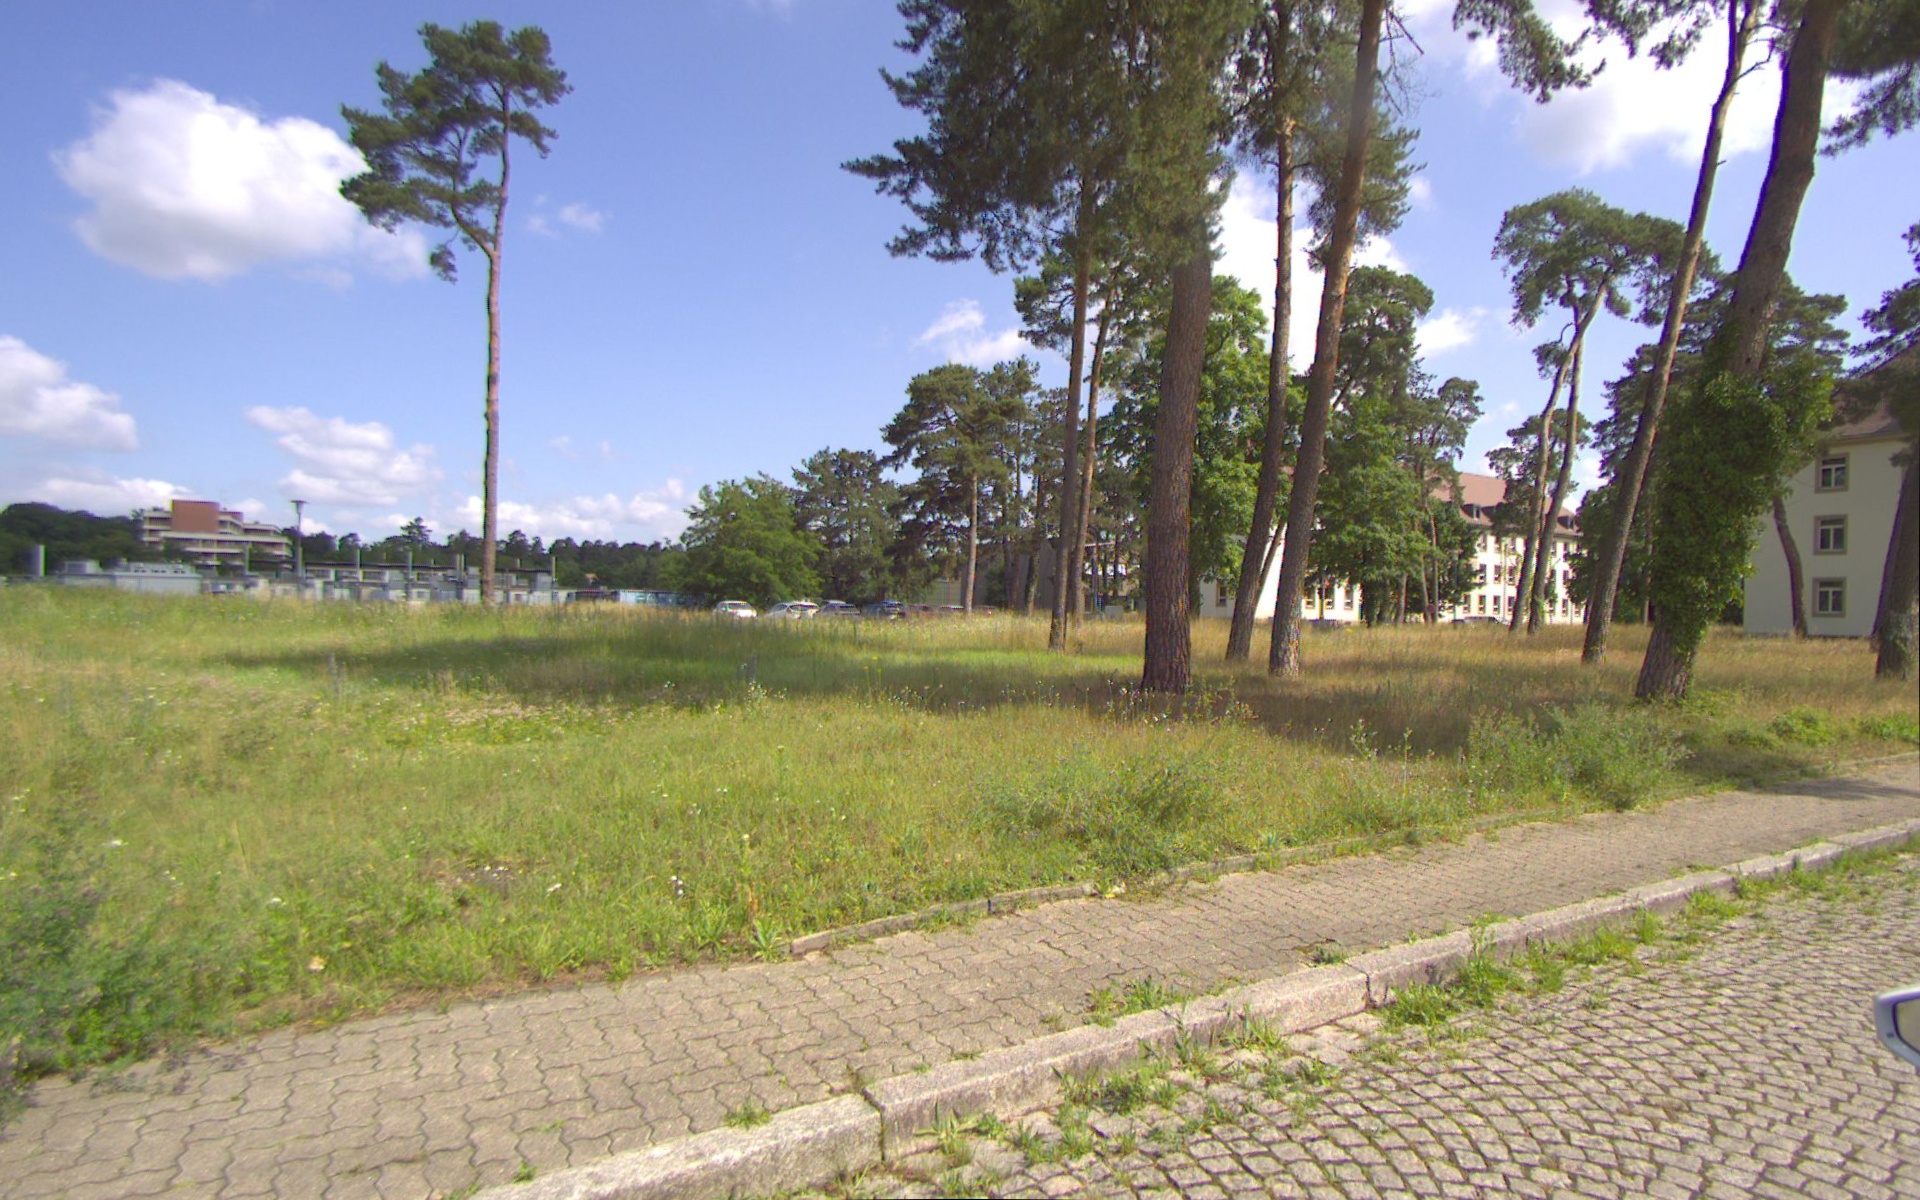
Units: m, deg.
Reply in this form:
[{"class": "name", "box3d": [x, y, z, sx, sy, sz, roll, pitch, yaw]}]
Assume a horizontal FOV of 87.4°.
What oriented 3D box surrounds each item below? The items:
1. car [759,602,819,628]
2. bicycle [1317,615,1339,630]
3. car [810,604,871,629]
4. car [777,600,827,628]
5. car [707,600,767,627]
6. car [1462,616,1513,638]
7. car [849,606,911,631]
[{"class": "car", "box3d": [-9.444, 0.815, 55.322, 1.879, 1.356, 4.044, 2, -1, -32]}, {"class": "bicycle", "box3d": [27.403, 1.686, 74.870, 1.562, 1.115, 0.489, 2, 0, -20]}, {"class": "car", "box3d": [-6.729, 0.916, 56.204, 1.879, 1.337, 4.044, 2, -1, -32]}, {"class": "car", "box3d": [-10.568, 0.919, 66.838, 1.879, 1.724, 4.044, 2, -1, -32]}, {"class": "car", "box3d": [-11.888, 0.723, 53.384, 1.879, 1.366, 4.036, 2, -1, -32]}, {"class": "car", "box3d": [50.667, 2.563, 96.518, 1.693, 2.018, 4.040, 2, -1, -30]}, {"class": "car", "box3d": [-4.590, 1.039, 57.206, 1.879, 1.326, 4.044, 2, -1, -32]}]
